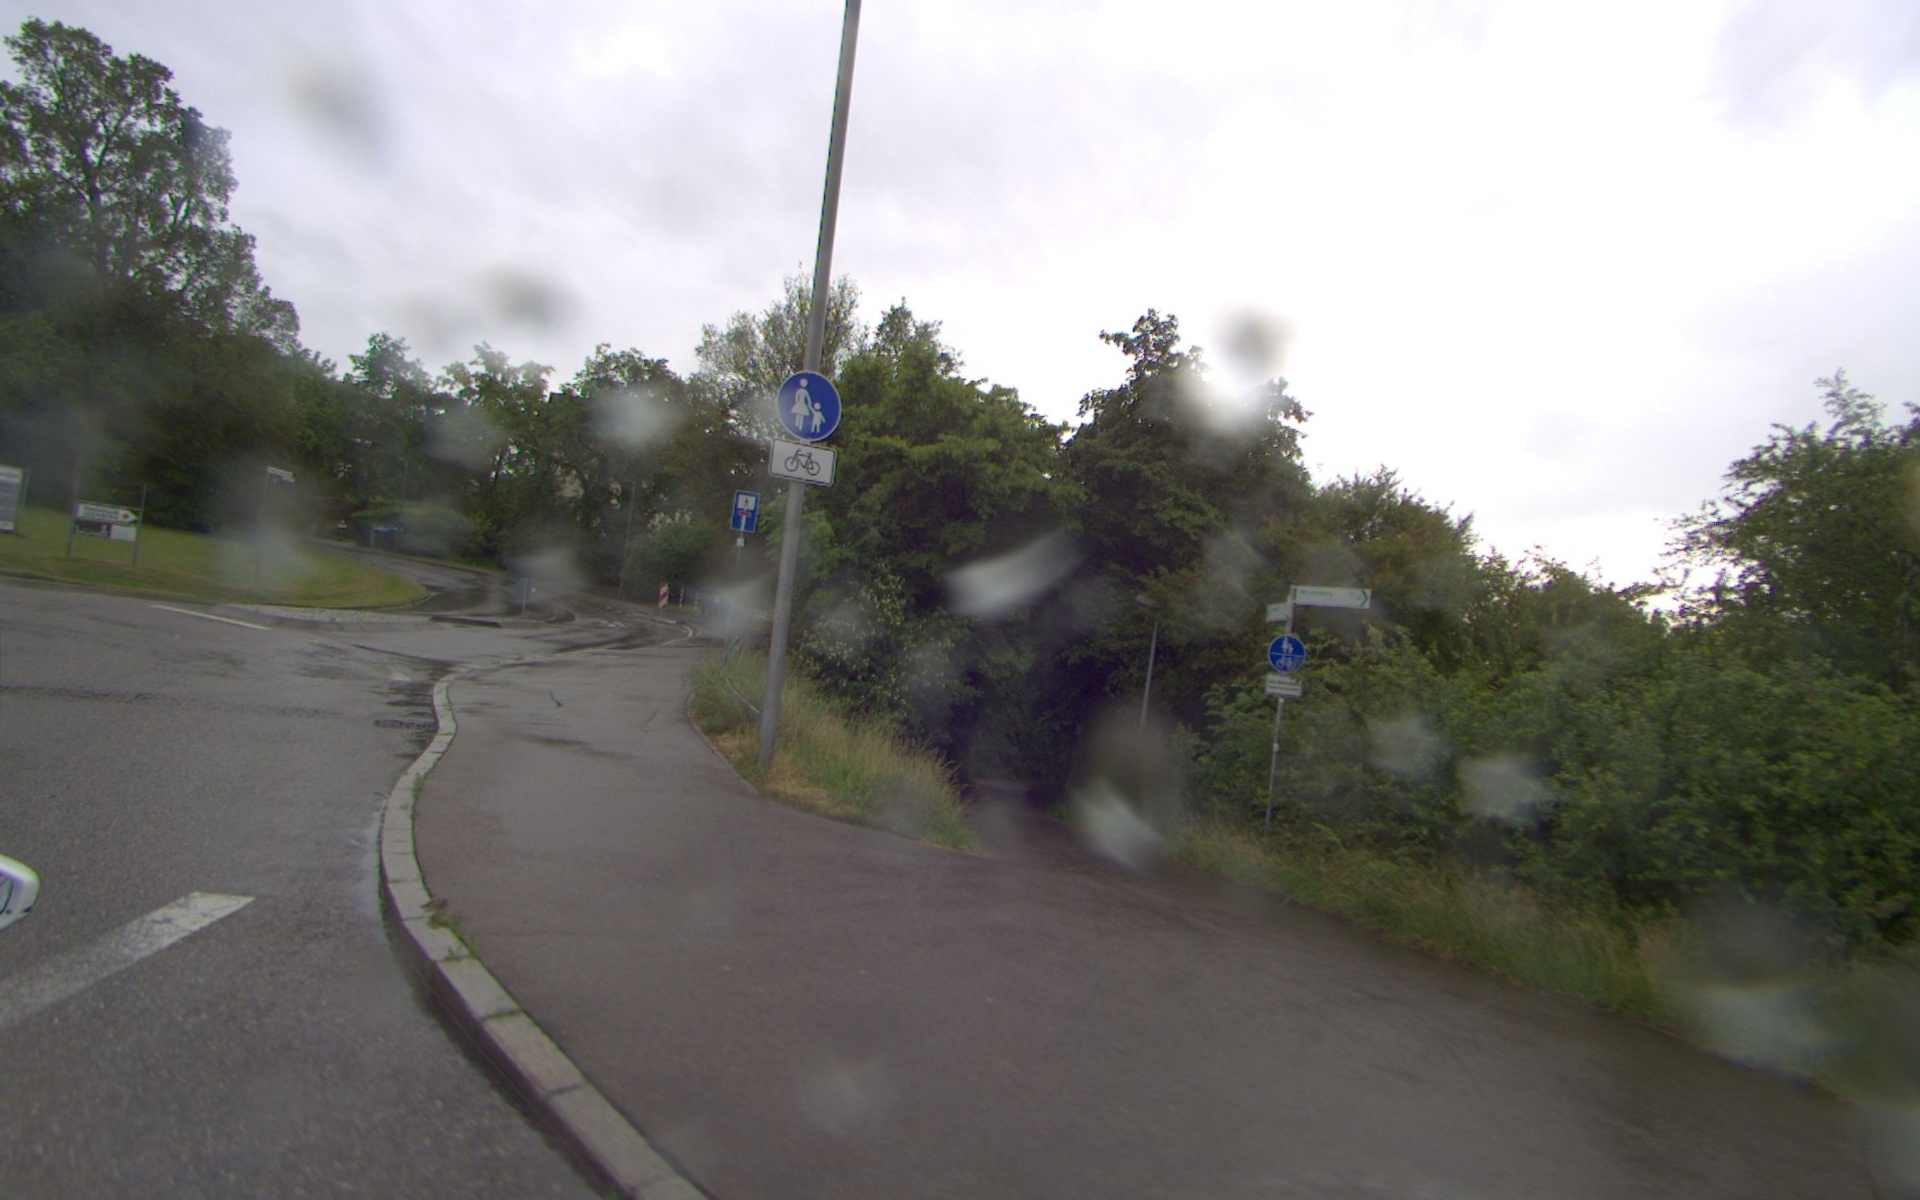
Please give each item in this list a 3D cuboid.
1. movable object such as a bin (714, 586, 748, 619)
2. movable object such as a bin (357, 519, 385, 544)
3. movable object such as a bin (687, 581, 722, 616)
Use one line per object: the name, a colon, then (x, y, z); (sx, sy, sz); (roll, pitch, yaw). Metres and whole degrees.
movable object such as a bin: (-10.470, 0.110, 46.042); (1.184, 1.359, 1.067); (5, 1, -29)
movable object such as a bin: (-40.146, -4.671, 68.536); (1.191, 1.454, 1.410); (8, -1, -45)
movable object such as a bin: (-12.062, -0.068, 47.430); (1.185, 1.453, 1.067); (9, -1, -29)
